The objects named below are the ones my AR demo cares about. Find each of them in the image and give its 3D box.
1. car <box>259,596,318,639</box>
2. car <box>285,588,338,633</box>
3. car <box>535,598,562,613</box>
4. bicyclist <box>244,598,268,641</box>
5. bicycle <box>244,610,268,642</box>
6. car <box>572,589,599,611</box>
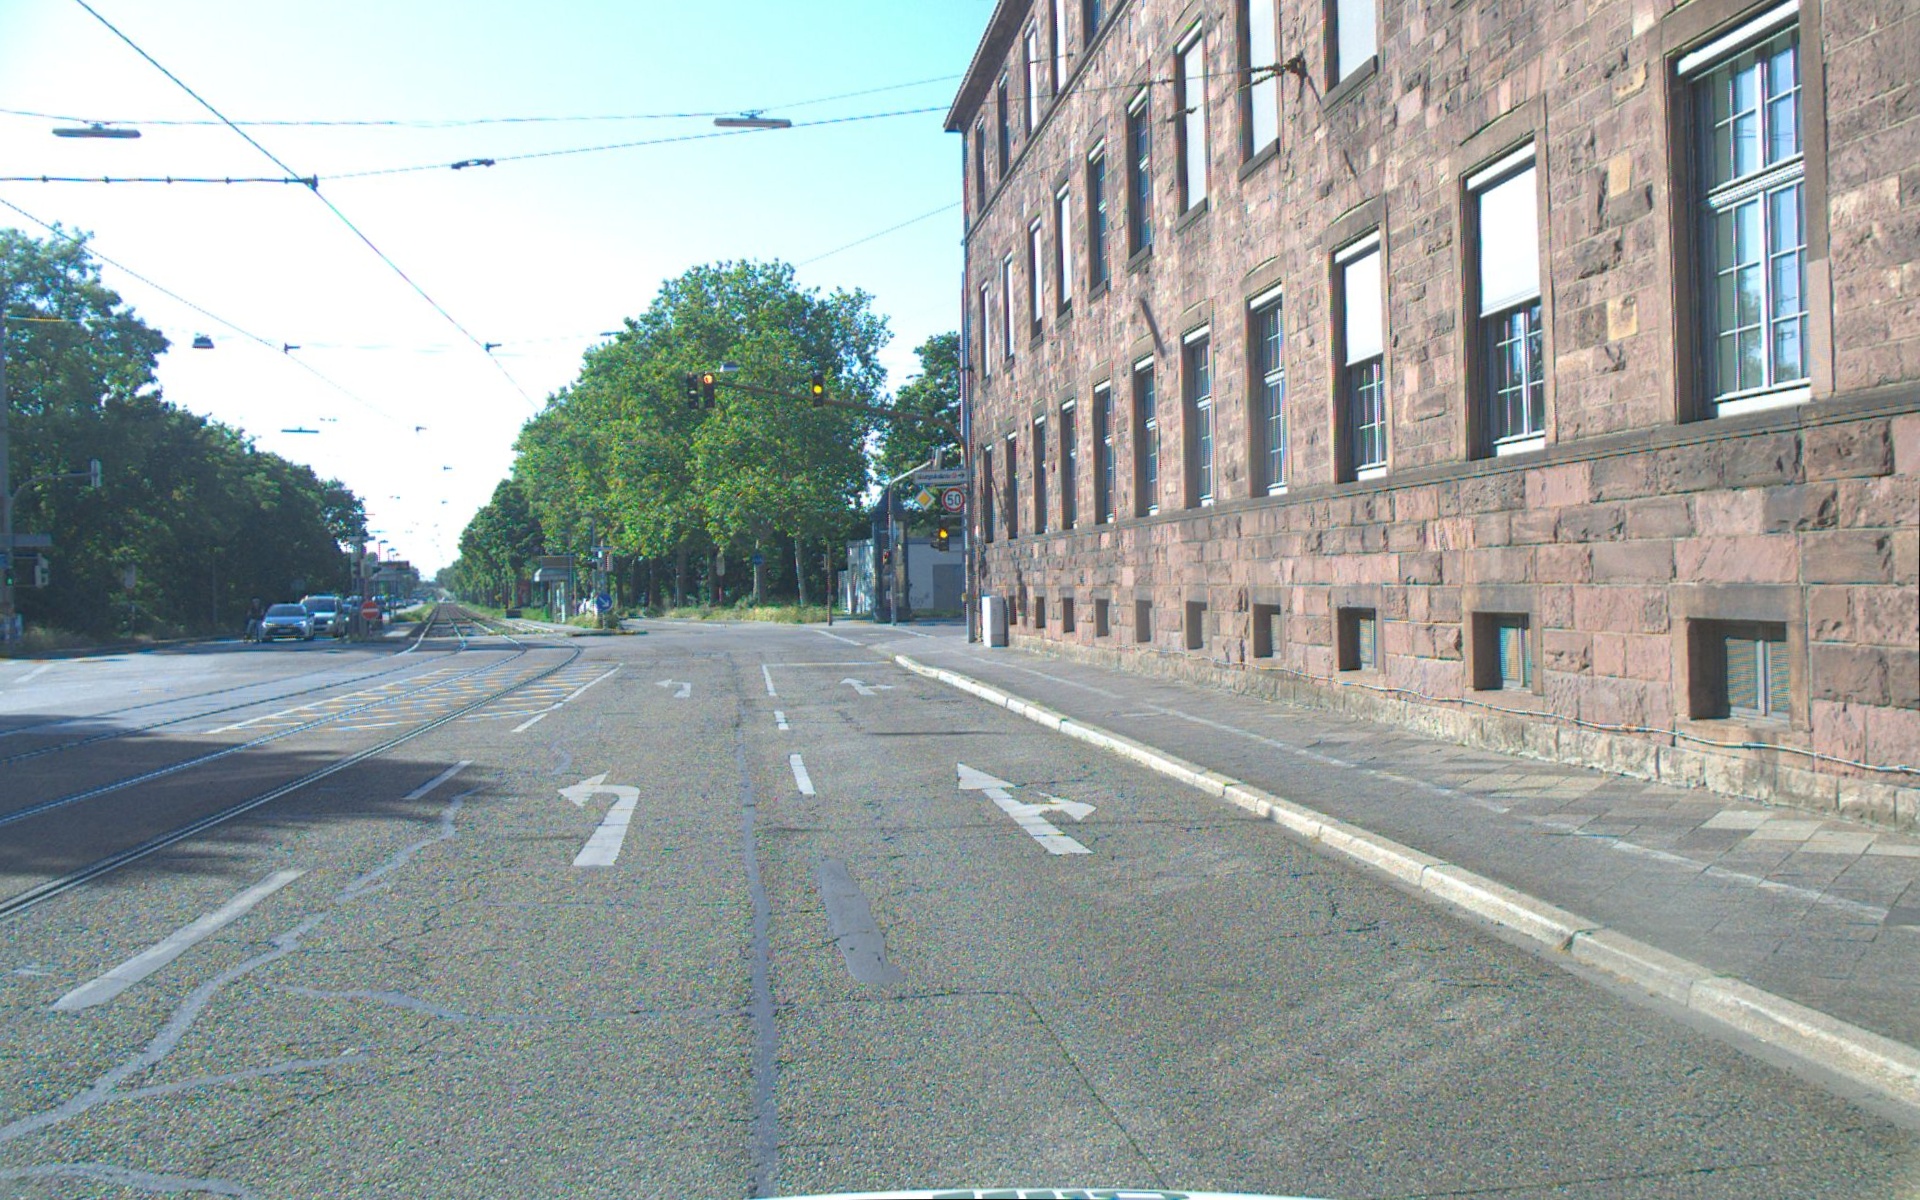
[{"bbox_3d":[-26.091,0.656,64.361,1.965,1.530,3.975,-2,1,-21],"label":"car"},{"bbox_3d":[-27.651,0.422,70.608,1.965,1.791,3.975,-2,1,-21],"label":"car"},{"bbox_3d":[-46.498,0.625,186.826,1.921,1.638,3.962,-2,1,-28],"label":"car"},{"bbox_3d":[-25.892,0.712,60.814,0.739,1.530,0.957,-2,1,-23],"label":"bicyclist"},{"bbox_3d":[-25.903,0.932,60.868,0.739,1.106,2.162,-2,1,-22],"label":"bicycle"},{"bbox_3d":[-28.715,-0.004,126.858,1.909,1.638,3.987,-2,1,-13],"label":"car"}]
